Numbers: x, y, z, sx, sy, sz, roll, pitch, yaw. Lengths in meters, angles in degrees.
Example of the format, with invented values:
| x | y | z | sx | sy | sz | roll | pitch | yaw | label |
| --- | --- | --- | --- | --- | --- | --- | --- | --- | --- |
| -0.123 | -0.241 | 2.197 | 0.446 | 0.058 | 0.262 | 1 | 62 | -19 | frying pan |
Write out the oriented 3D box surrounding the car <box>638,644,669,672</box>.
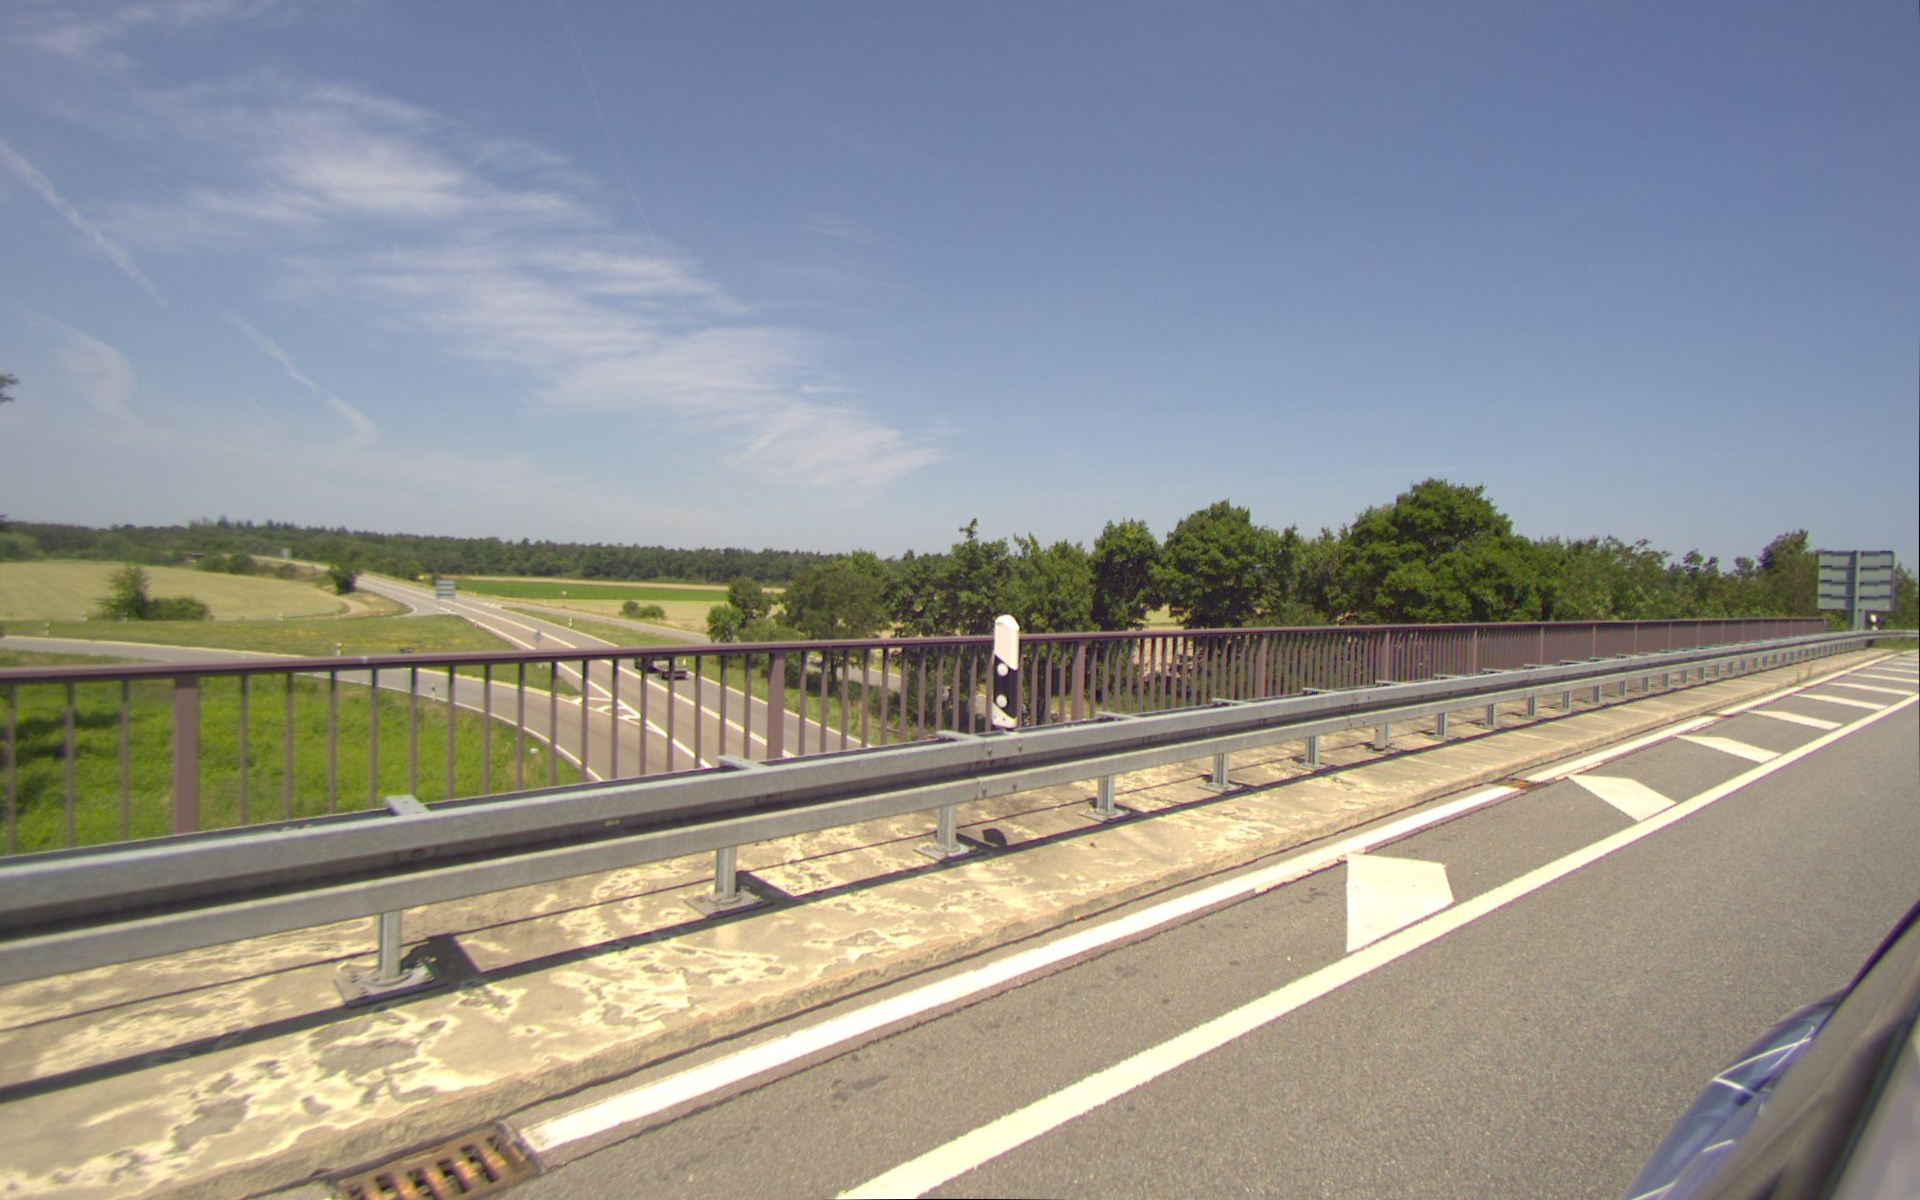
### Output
| x | y | z | sx | sy | sz | roll | pitch | yaw | label |
| --- | --- | --- | --- | --- | --- | --- | --- | --- | --- |
| -22.520 | 4.227 | 74.246 | 1.478 | 1.615 | 3.674 | 0 | 2 | -28 | car |

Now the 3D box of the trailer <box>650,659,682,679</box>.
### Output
| x | y | z | sx | sy | sz | roll | pitch | yaw | label |
| --- | --- | --- | --- | --- | --- | --- | --- | --- | --- |
| -20.535 | 4.801 | 70.649 | 1.241 | 1.060 | 4.484 | 0 | 1 | -28 | trailer |
